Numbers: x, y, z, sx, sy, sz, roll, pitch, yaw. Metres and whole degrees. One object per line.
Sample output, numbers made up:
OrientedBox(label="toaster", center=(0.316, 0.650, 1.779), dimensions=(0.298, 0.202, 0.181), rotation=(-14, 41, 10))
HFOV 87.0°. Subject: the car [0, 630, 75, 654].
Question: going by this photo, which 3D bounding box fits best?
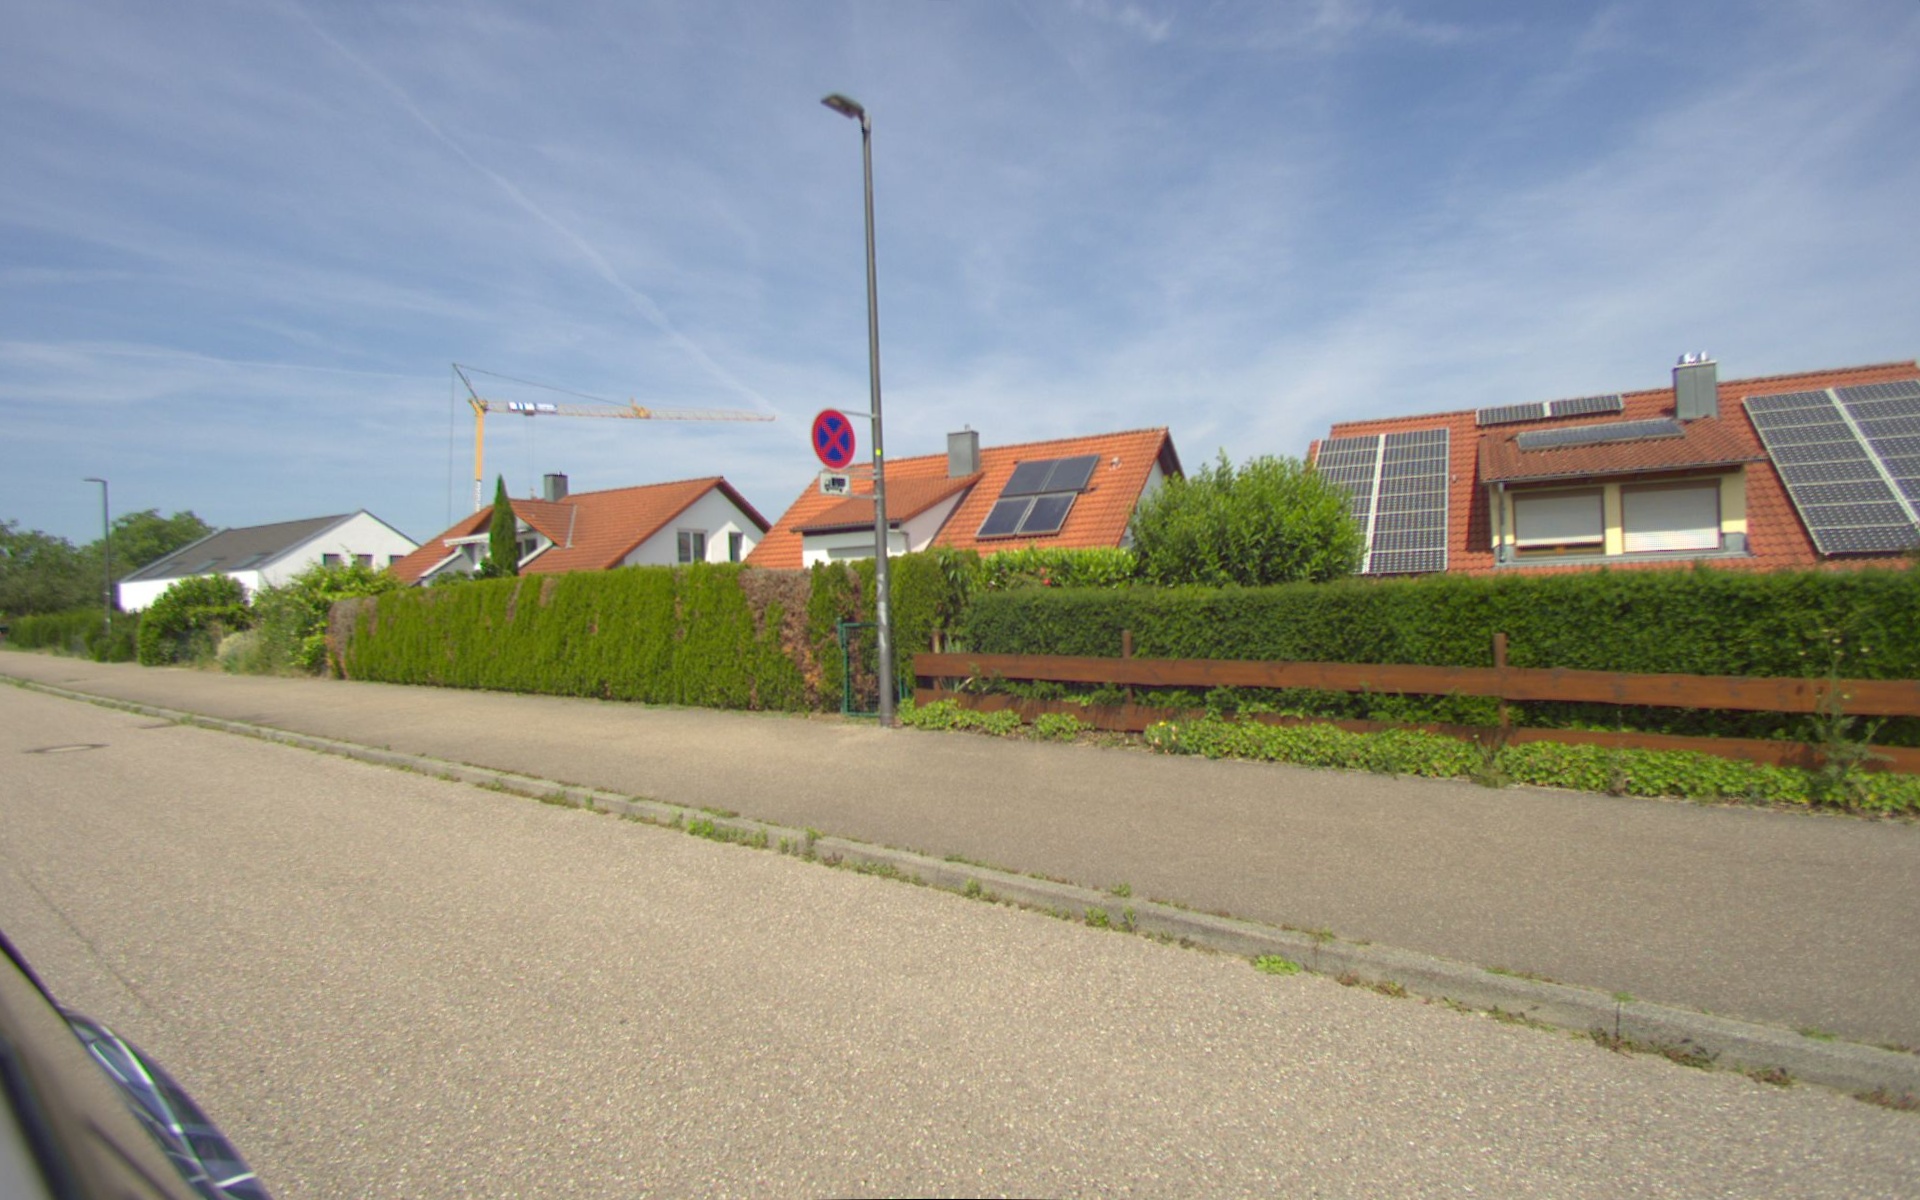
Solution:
OrientedBox(label="car", center=(-58.714, 2.644, 64.131), dimensions=(1.801, 1.331, 3.832), rotation=(-2, 0, 45))
